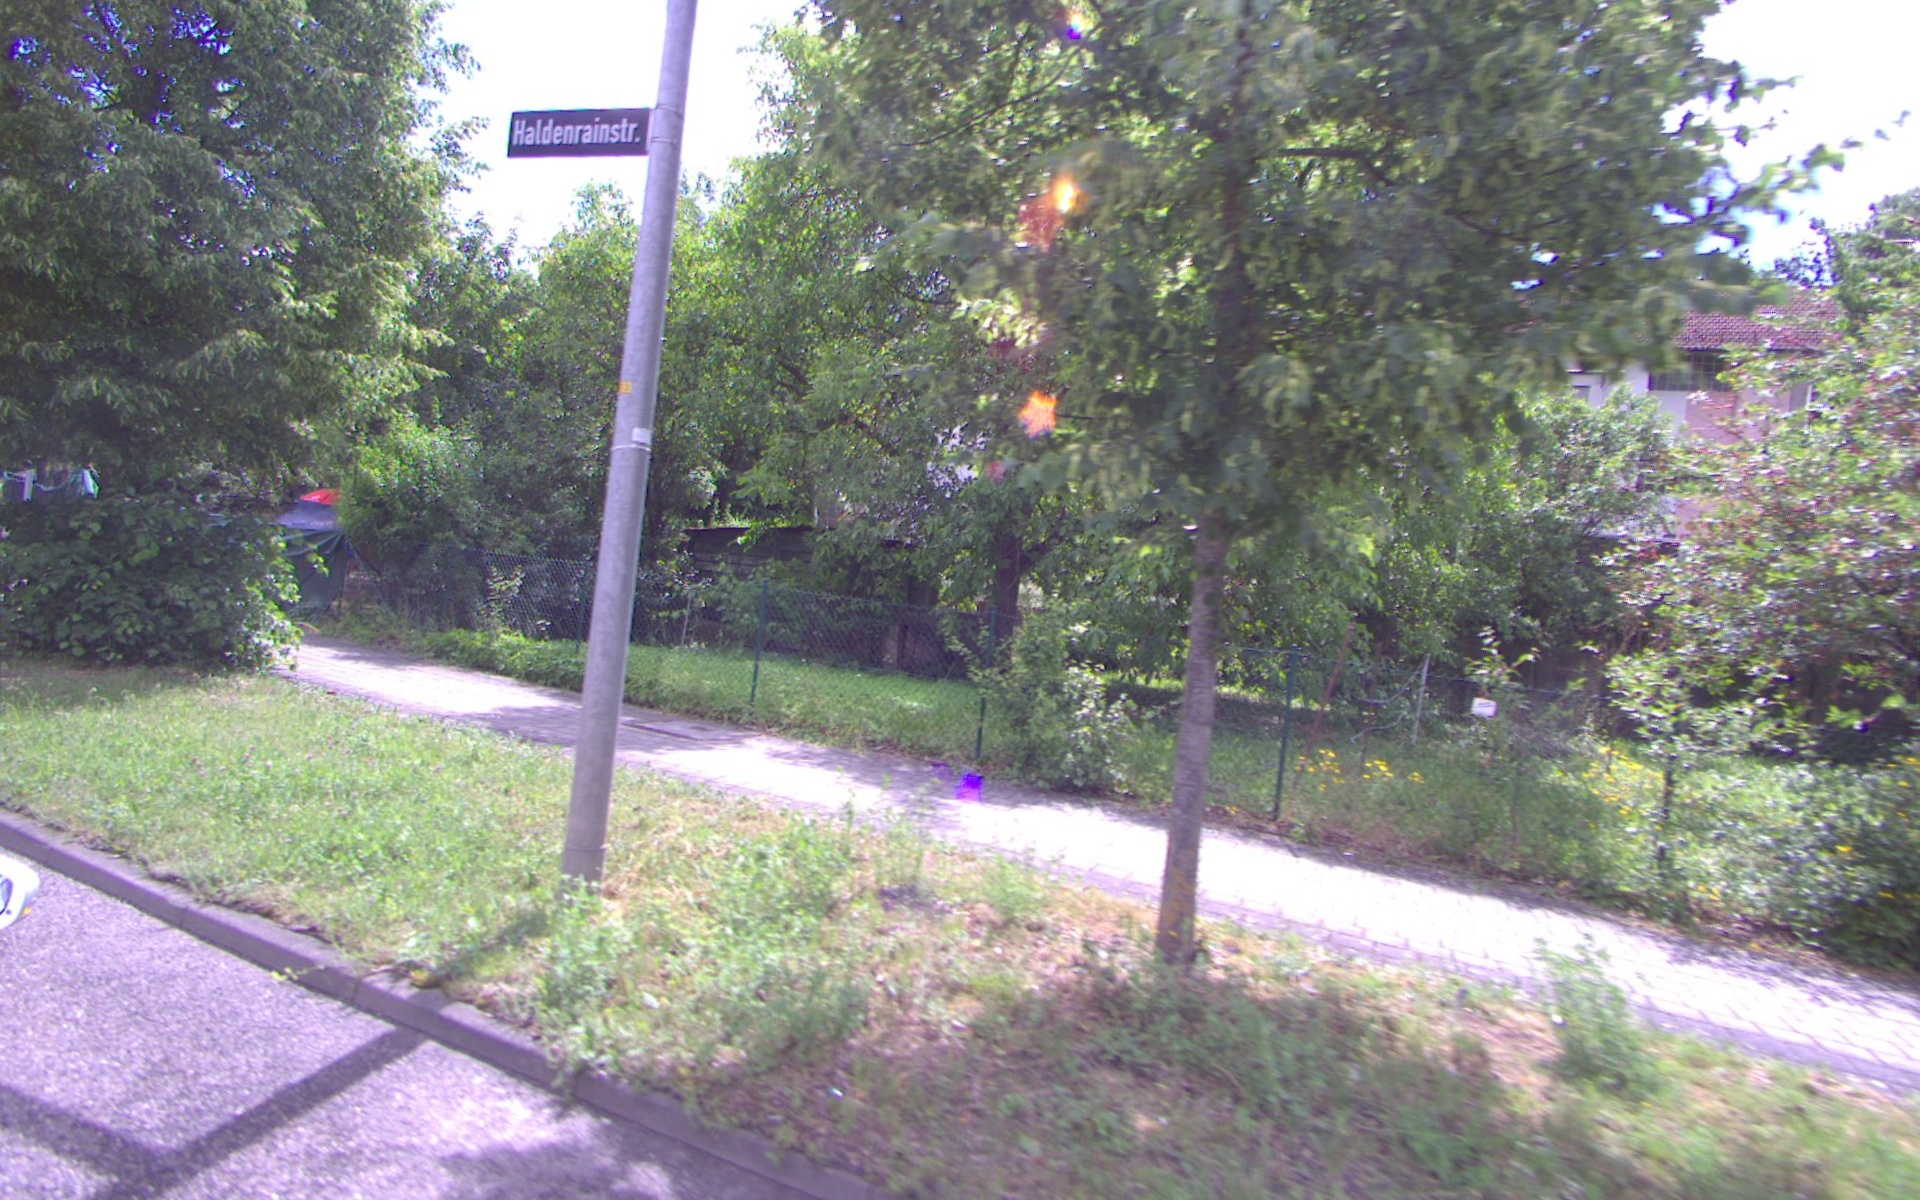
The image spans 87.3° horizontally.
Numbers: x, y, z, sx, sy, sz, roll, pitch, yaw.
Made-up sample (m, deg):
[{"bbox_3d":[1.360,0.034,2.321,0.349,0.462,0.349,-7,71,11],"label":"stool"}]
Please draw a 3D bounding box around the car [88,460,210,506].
[{"bbox_3d":[-39.858,-5.704,49.506,4.504,1.694,1.975,2,2,-44],"label":"car"}]
